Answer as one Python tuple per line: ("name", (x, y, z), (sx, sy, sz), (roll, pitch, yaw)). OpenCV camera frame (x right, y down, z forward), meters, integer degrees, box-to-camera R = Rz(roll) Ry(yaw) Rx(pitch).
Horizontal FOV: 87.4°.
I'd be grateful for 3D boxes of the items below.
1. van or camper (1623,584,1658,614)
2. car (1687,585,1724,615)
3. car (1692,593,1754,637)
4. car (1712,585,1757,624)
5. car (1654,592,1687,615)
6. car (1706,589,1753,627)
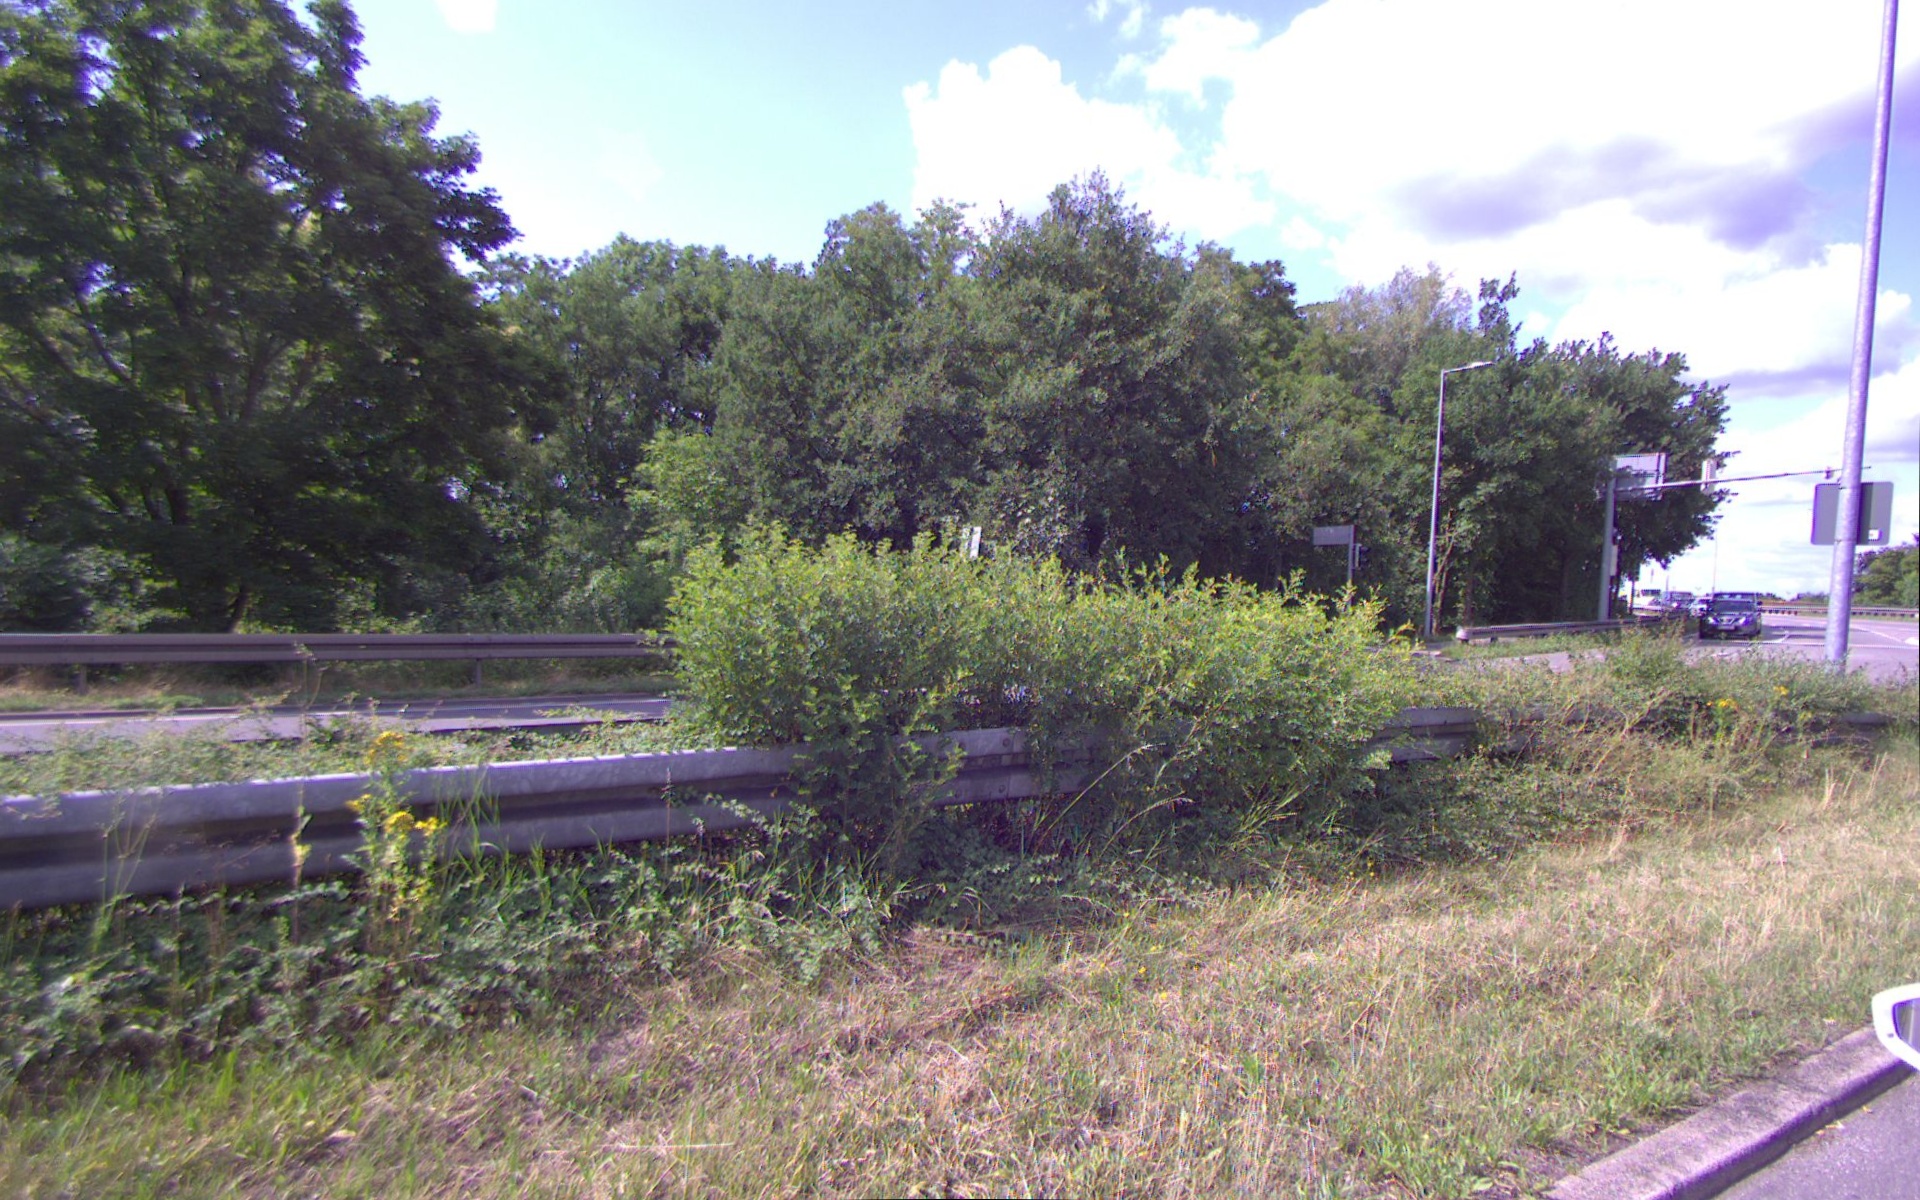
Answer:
("van or camper", (64.755, -0.081, 95.641), (1.963, 2.719, 6.852), (2, 1, 28))
("car", (53.132, -0.016, 71.631), (1.818, 2.005, 4.314), (2, 1, 33))
("car", (30.799, 0.620, 40.506), (1.816, 1.639, 3.982), (2, 0, 39))
("car", (44.950, 0.243, 58.365), (1.819, 2.128, 4.311), (2, 1, 36))
("car", (58.010, 0.276, 82.050), (1.817, 1.728, 4.316), (2, 1, 32))
("car", (40.048, 0.402, 52.227), (1.820, 1.826, 4.307), (2, 1, 39))
